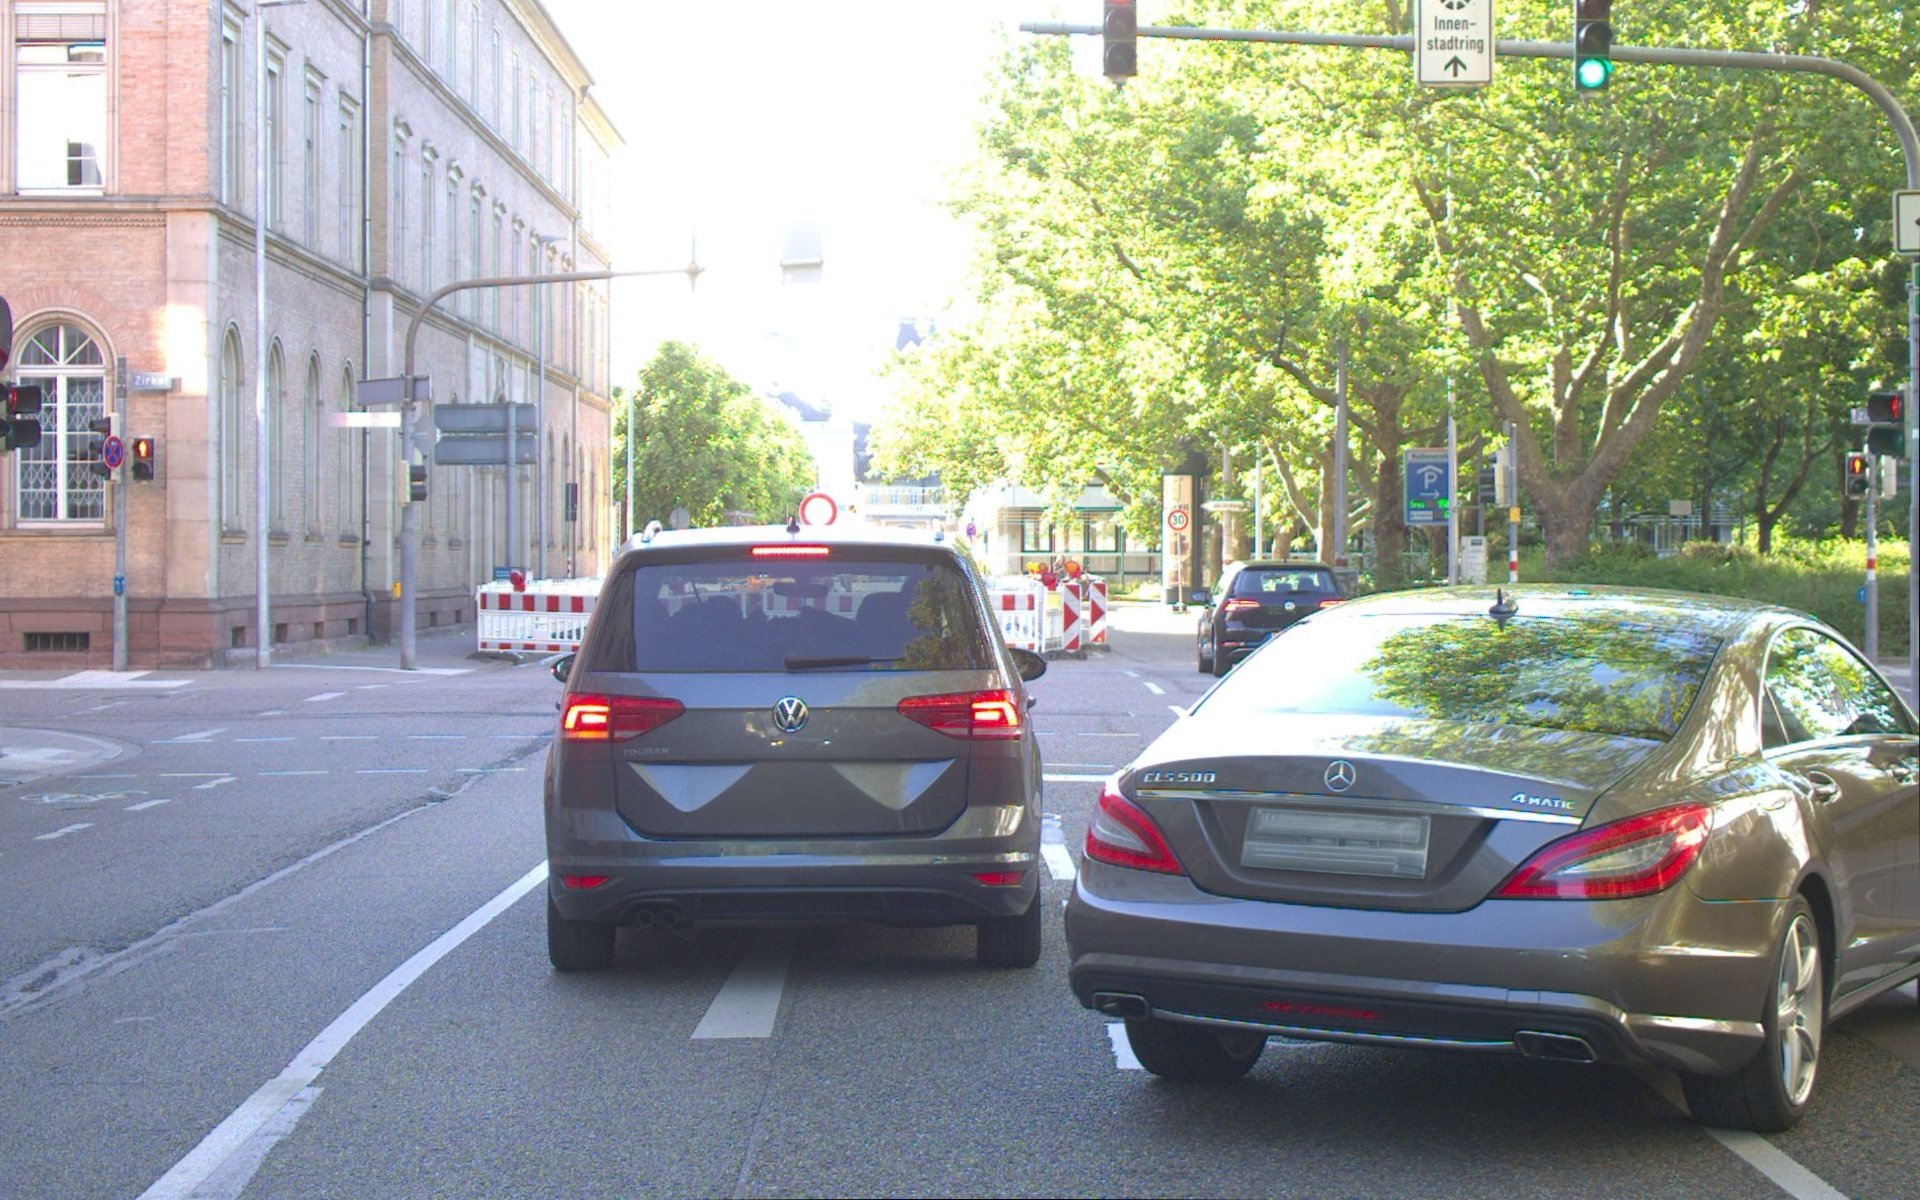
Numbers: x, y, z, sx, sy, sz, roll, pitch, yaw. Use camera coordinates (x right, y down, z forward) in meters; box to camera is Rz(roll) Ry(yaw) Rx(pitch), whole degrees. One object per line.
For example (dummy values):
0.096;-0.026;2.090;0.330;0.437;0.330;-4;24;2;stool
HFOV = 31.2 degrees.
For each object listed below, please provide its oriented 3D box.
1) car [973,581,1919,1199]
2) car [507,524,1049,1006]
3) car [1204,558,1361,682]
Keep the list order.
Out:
1.906;0.674;10.365;1.846;1.424;4.510;1;1;28;car
-0.574;0.536;13.500;1.809;1.607;4.000;0;0;1;car
3.964;0.222;42.713;1.689;1.435;3.902;1;0;2;car
